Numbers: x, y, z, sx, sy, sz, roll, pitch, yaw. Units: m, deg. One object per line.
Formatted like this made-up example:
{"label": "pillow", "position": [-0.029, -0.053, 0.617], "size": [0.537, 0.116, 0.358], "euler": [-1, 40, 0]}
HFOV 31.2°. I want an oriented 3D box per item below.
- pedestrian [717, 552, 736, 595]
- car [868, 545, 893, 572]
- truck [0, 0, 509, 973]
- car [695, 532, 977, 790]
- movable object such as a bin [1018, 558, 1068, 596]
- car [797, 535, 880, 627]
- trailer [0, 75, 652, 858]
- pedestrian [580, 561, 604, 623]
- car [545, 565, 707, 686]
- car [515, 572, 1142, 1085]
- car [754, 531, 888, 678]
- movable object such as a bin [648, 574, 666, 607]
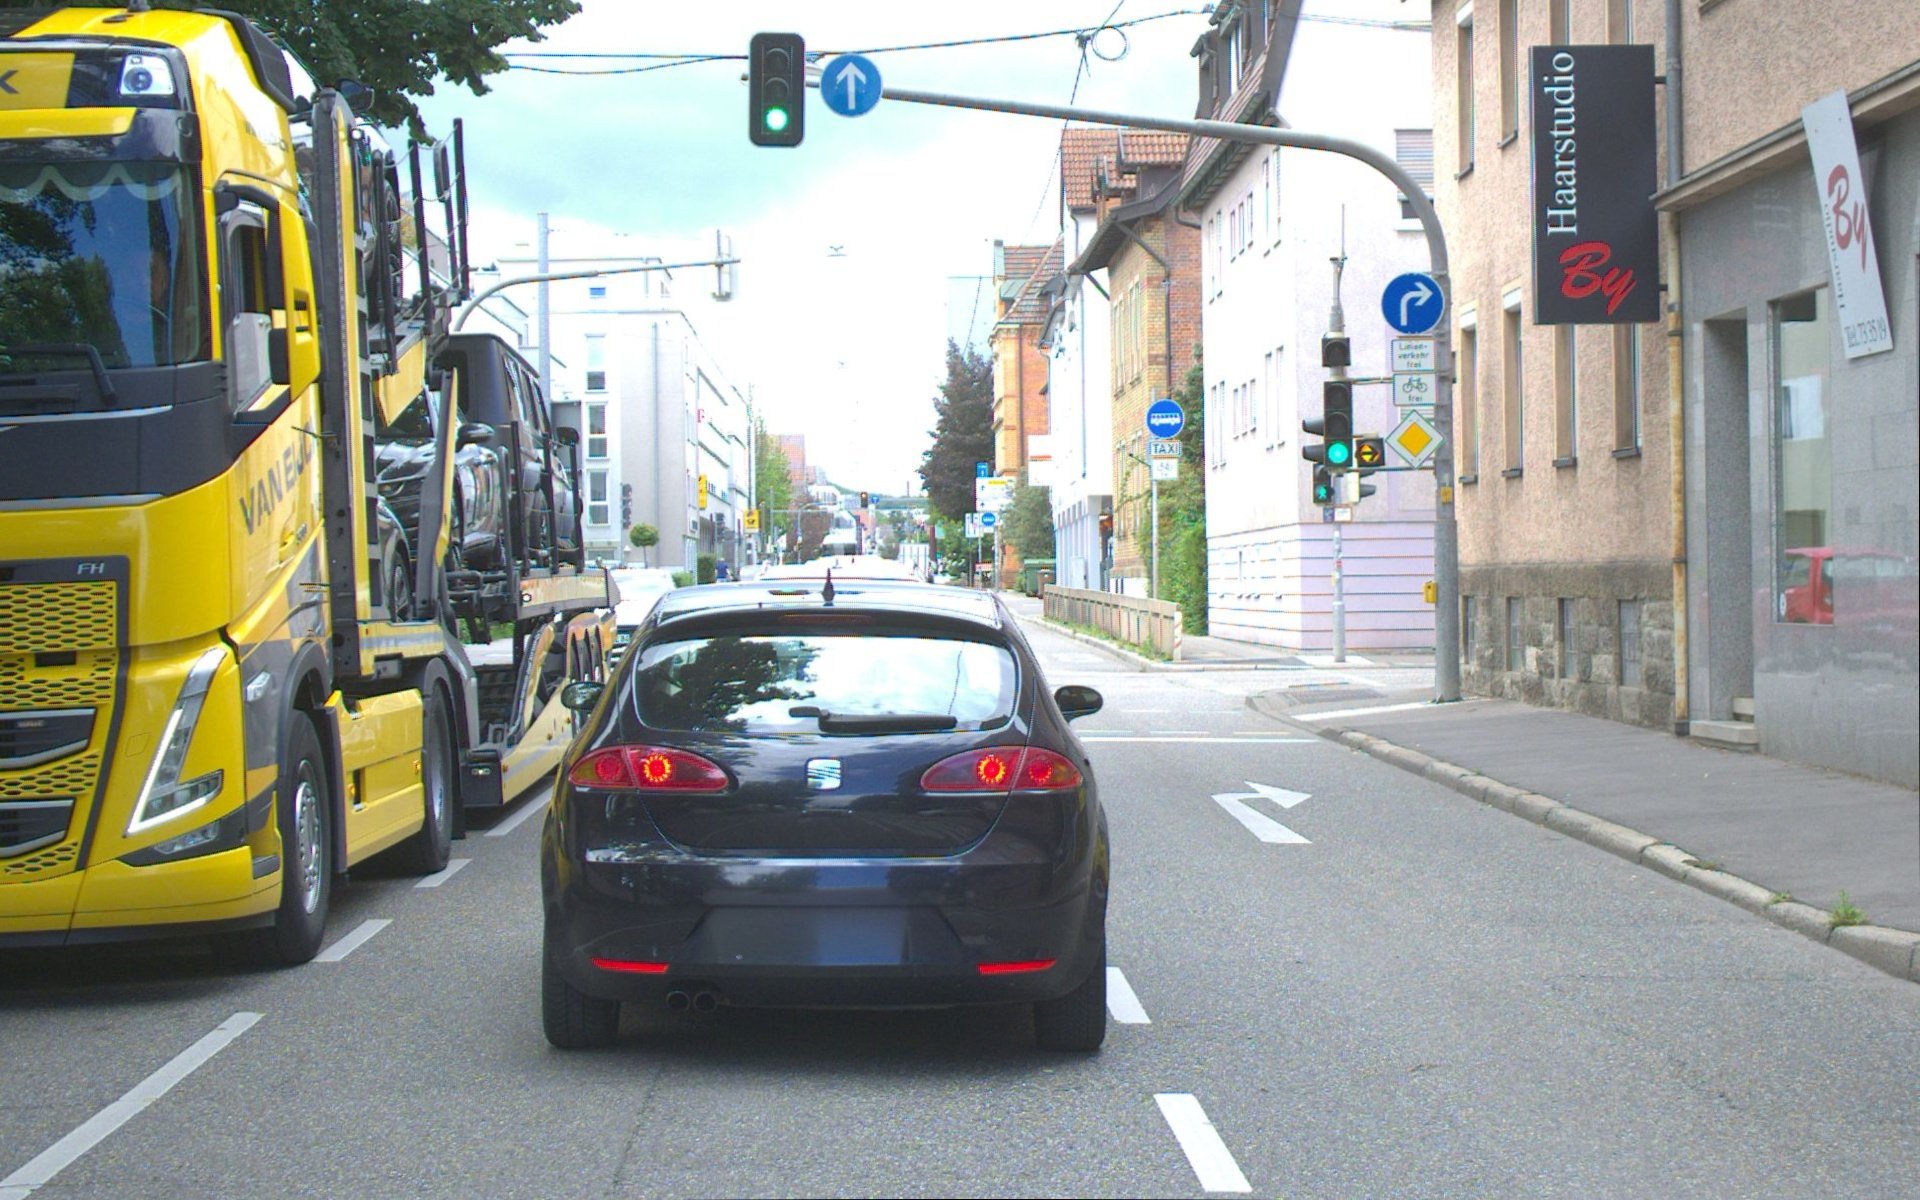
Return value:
{"label": "pedestrian", "position": [-9.523, -1.079, 140.118], "size": [0.730, 1.723, 0.859], "euler": [0, 0, -2]}
{"label": "car", "position": [-5.085, -2.681, 219.811], "size": [1.531, 1.687, 3.693], "euler": [-1, 1, -2]}
{"label": "truck", "position": [-3.918, -0.643, 15.493], "size": [2.843, 3.769, 7.669], "euler": [0, 0, -1]}
{"label": "car", "position": [-0.876, 0.395, 24.612], "size": [1.842, 1.687, 4.000], "euler": [0, 0, -2]}
{"label": "movable object such as a bin", "position": [3.157, -0.863, 130.858], "size": [1.818, 1.432, 1.993], "euler": [0, 0, 0]}
{"label": "car", "position": [-2.327, -0.359, 65.905], "size": [1.531, 1.687, 3.693], "euler": [0, 0, -2]}
{"label": "trailer", "position": [-4.080, -0.673, 23.918], "size": [2.858, 3.795, 14.392], "euler": [0, 0, -1]}
{"label": "pedestrian", "position": [-9.130, -0.202, 85.349], "size": [0.526, 1.542, 0.541], "euler": [0, 0, -1]}
{"label": "car", "position": [-4.466, 0.321, 46.511], "size": [1.767, 1.465, 4.227], "euler": [-3, 0, -1]}
{"label": "car", "position": [-0.420, 0.641, 11.710], "size": [1.759, 1.437, 4.000], "euler": [0, 0, -1]}
{"label": "car", "position": [-1.658, 0.050, 41.575], "size": [1.531, 1.687, 3.693], "euler": [0, 0, -2]}
{"label": "movable object such as a bin", "position": [-9.975, -0.301, 113.250], "size": [0.549, 1.075, 0.612], "euler": [0, 0, 0]}
